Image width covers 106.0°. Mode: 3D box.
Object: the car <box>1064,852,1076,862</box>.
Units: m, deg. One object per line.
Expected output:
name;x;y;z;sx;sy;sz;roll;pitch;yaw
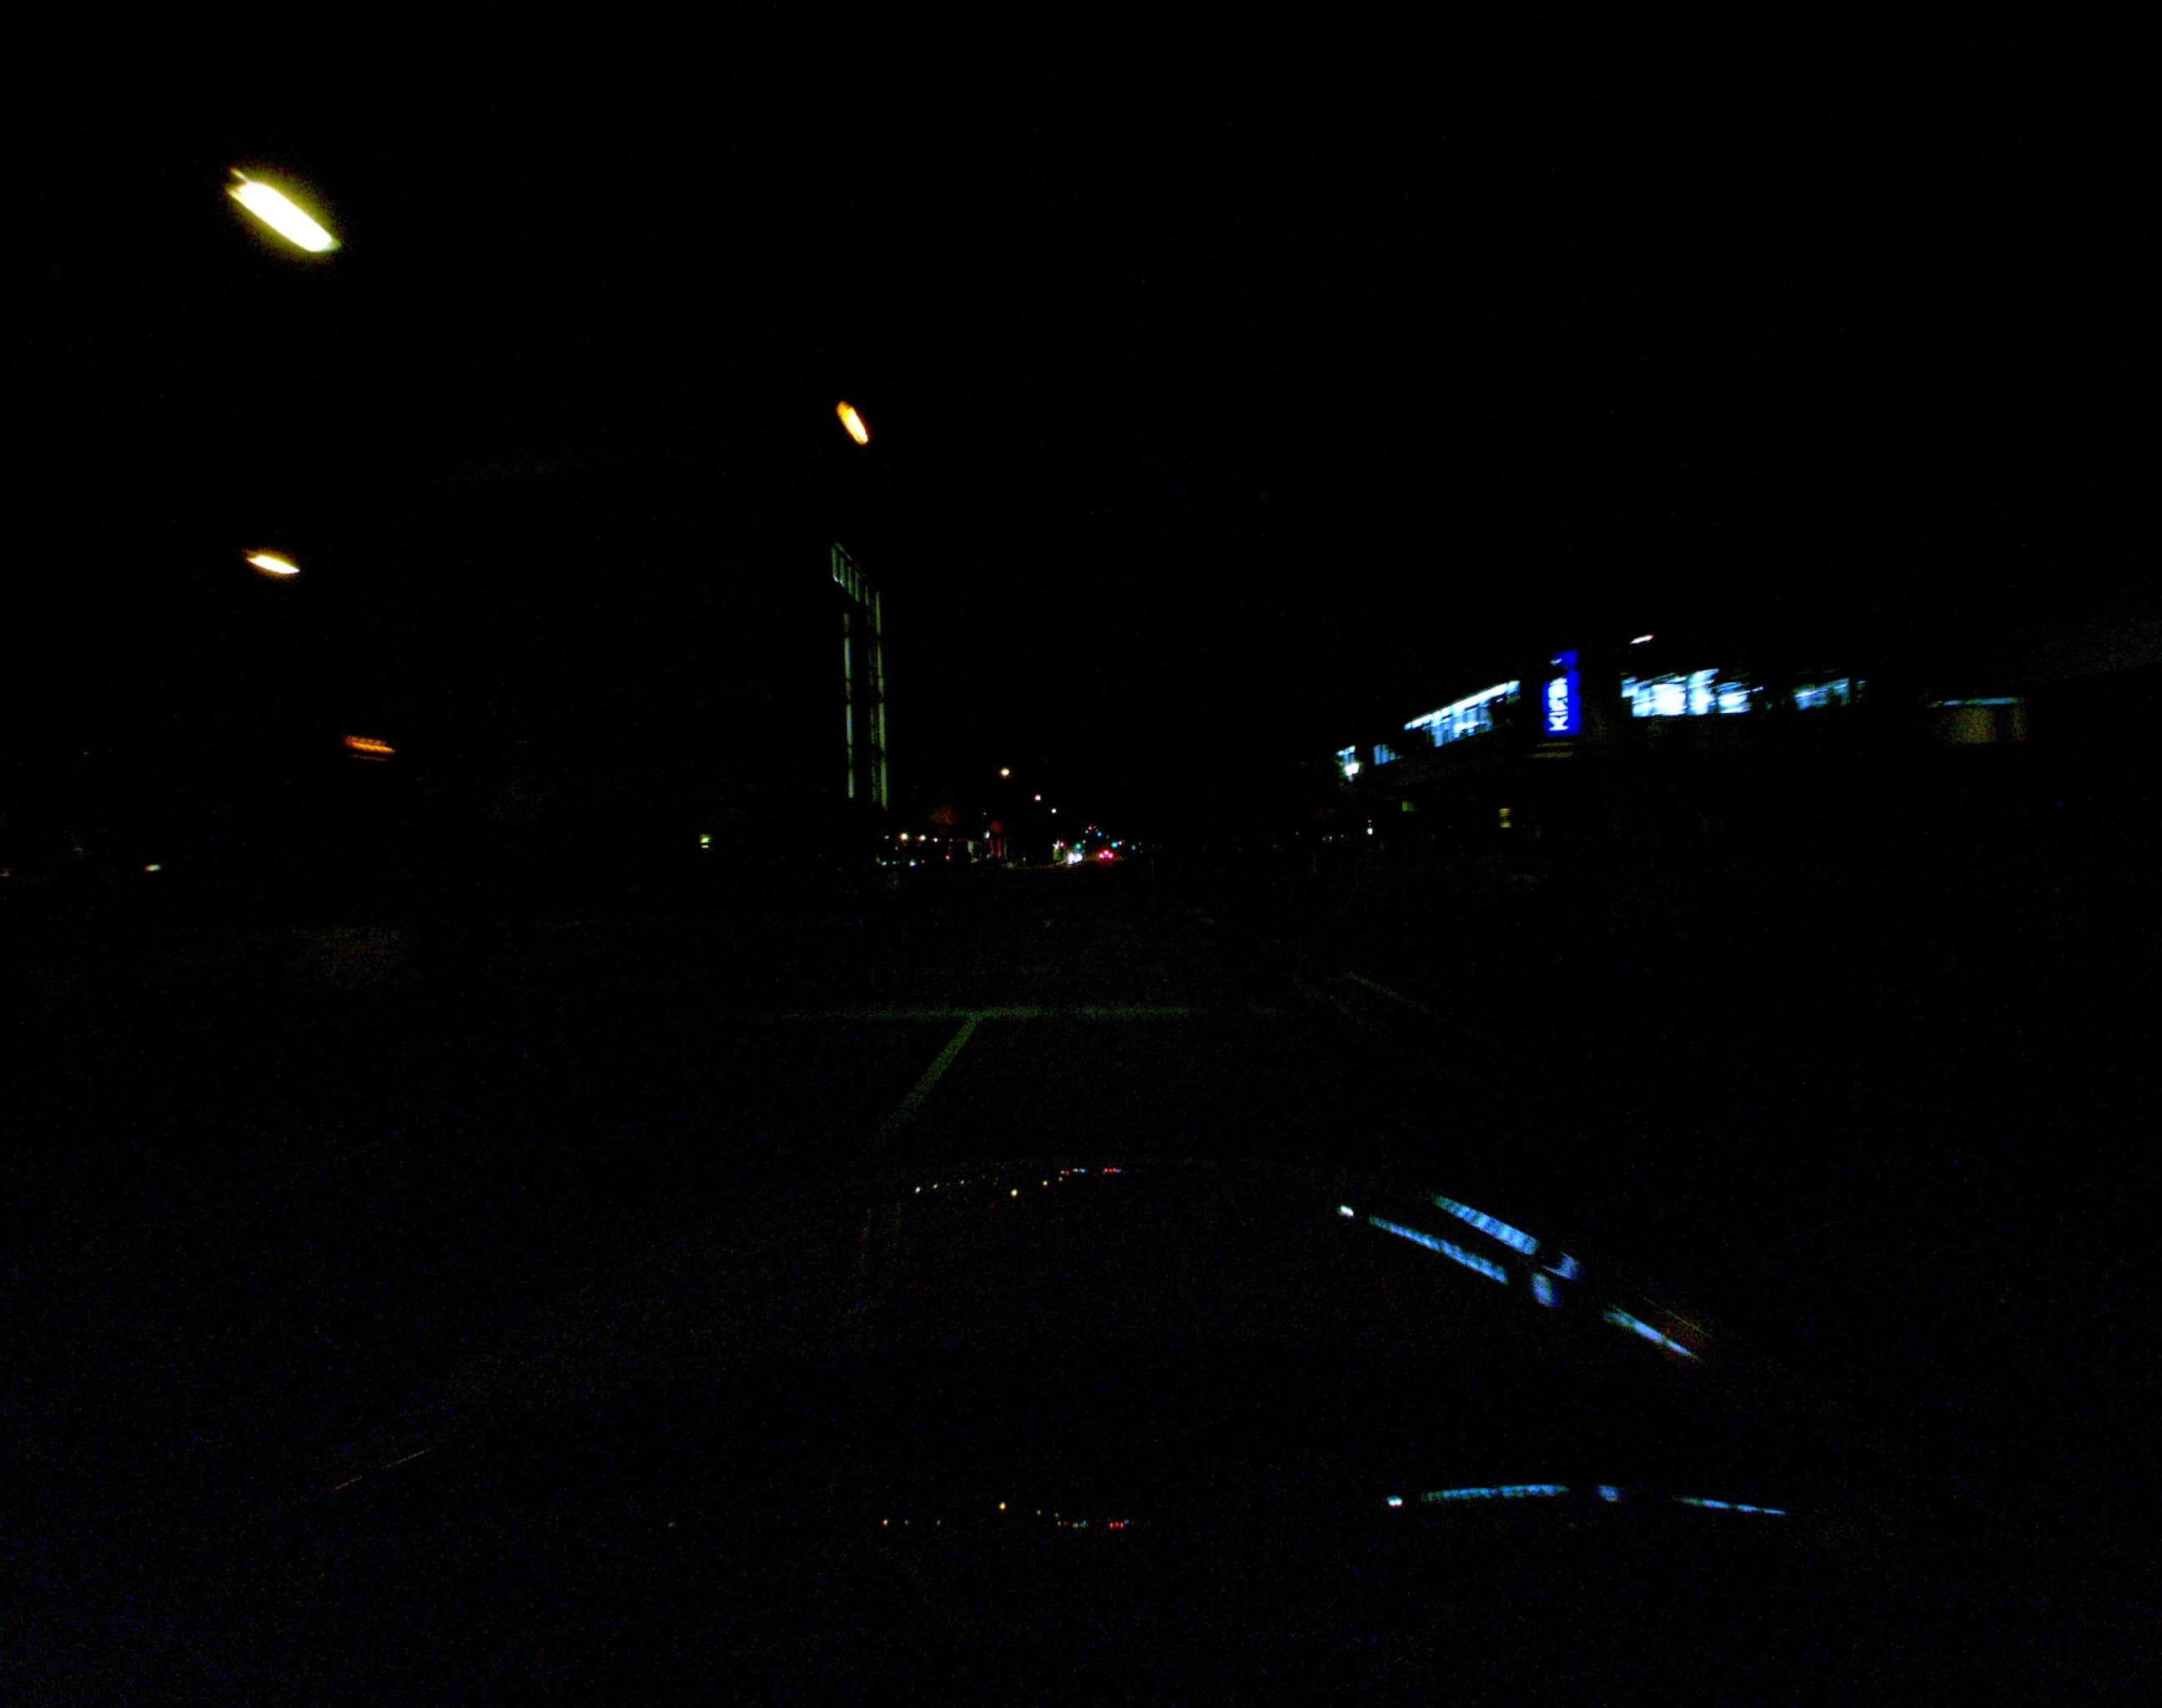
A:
car;-1.930;0.528;148.973;1.987;1.643;4.000;-3;0;1

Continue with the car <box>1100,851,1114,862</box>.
car;4.083;0.391;128.370;1.986;1.643;4.001;-3;0;1
